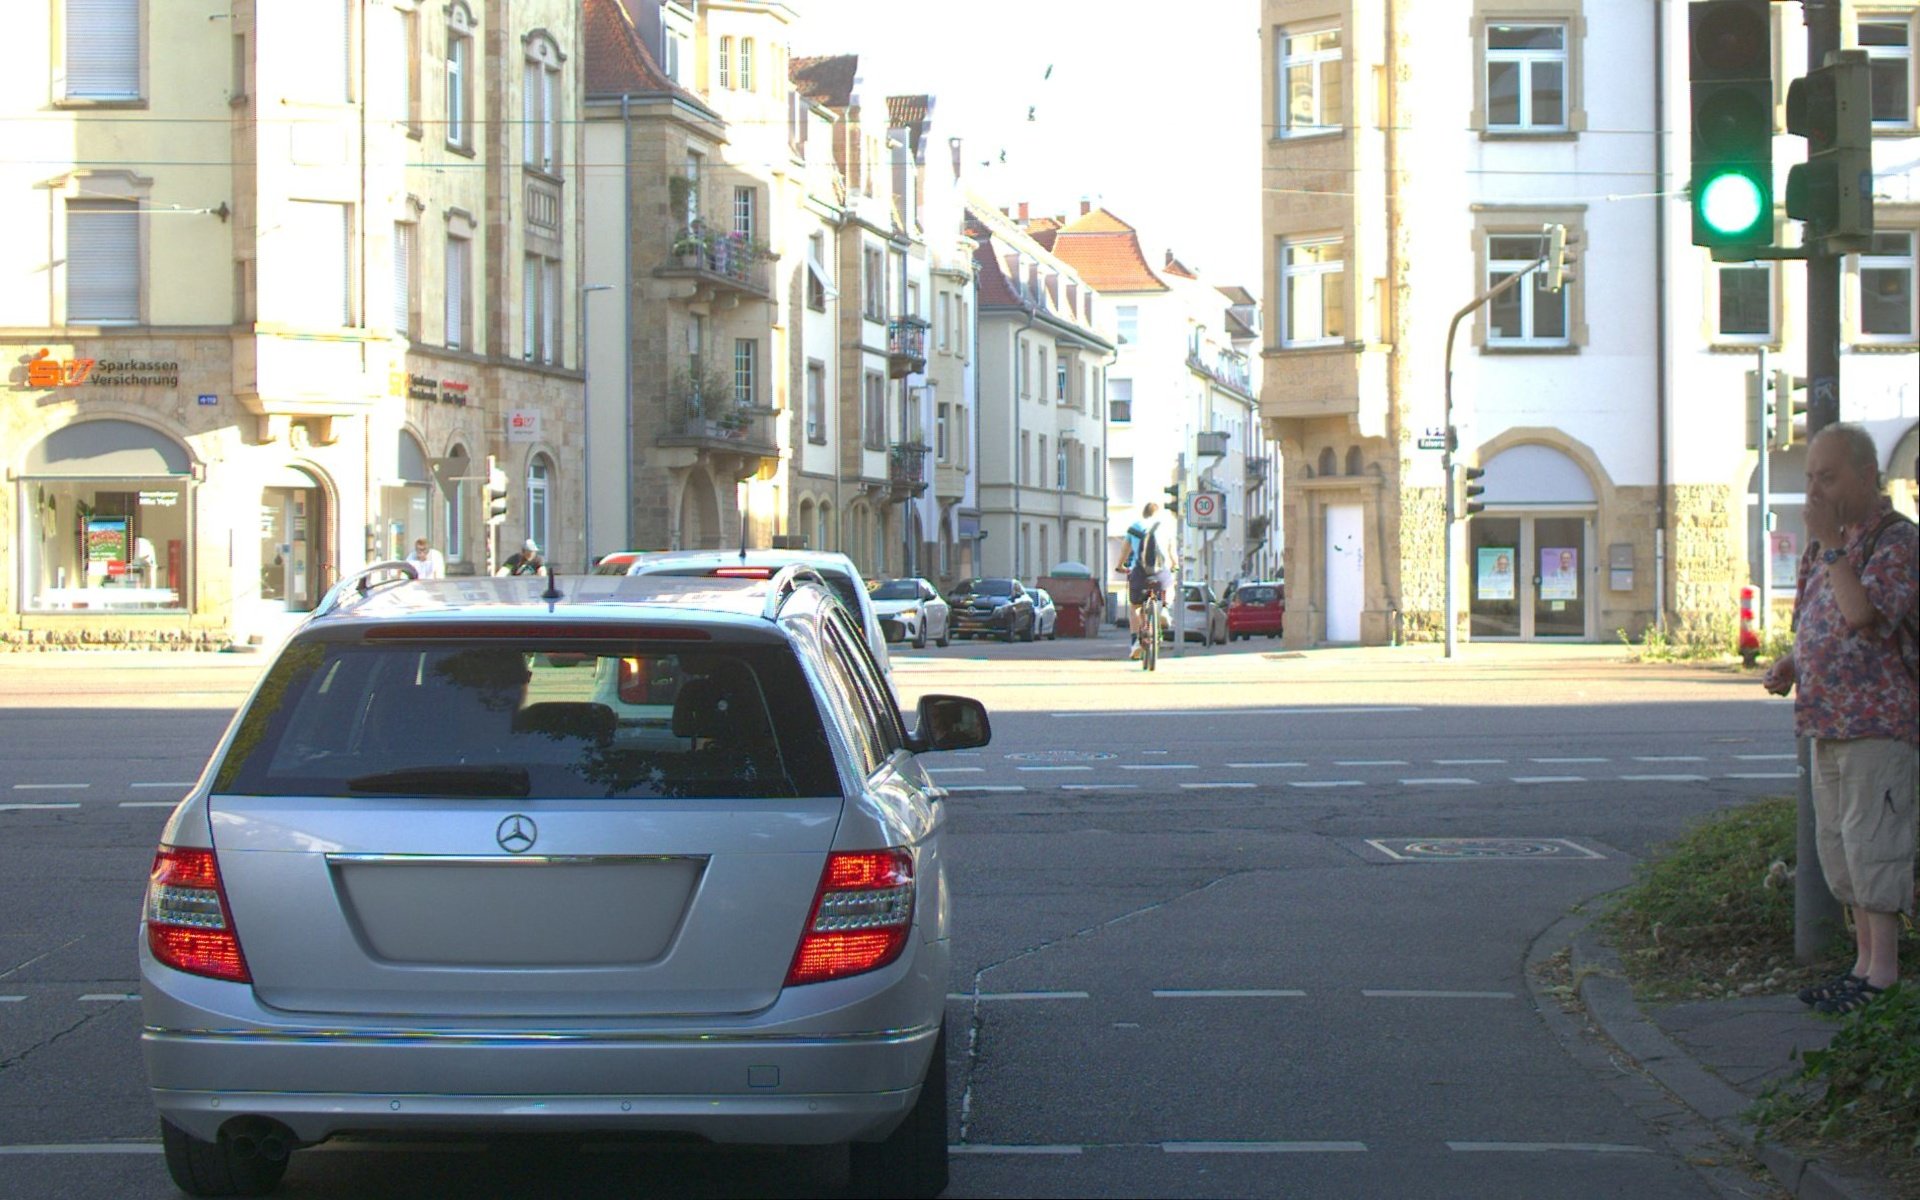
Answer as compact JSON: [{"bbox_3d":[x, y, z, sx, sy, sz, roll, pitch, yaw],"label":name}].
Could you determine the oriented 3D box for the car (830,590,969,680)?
[{"bbox_3d":[-1.181,0.673,68.718,1.831,1.700,3.998,1,0,13],"label":"car"}]

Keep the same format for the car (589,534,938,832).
[{"bbox_3d":[-1.011,0.403,19.189,1.732,1.475,3.815,1,0,-1],"label":"car"}]

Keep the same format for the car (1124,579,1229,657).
[{"bbox_3d":[4.745,0.367,74.866,1.830,1.610,3.998,1,0,10],"label":"car"}]

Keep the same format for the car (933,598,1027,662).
[{"bbox_3d":[0.564,0.774,91.573,1.831,1.610,3.998,1,0,10],"label":"car"}]

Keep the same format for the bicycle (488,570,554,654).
[{"bbox_3d":[-6.264,0.163,49.119,0.650,1.101,1.924,1,2,1],"label":"bicycle"}]

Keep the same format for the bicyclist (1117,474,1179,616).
[{"bbox_3d":[1.991,-0.579,36.477,0.610,1.488,0.767,1,0,1],"label":"bicyclist"}]

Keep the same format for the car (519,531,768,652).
[{"bbox_3d":[-5.131,-0.139,56.220,1.918,1.893,4.302,1,0,30],"label":"car"}]

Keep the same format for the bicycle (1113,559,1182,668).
[{"bbox_3d":[1.978,0.129,36.479,0.619,1.101,2.552,1,0,1],"label":"bicycle"}]

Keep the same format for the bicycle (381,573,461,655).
[{"bbox_3d":[-7.503,0.182,47.950,0.650,1.101,2.552,1,0,1],"label":"bicycle"}]

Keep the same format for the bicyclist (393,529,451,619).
[{"bbox_3d":[-7.497,-0.361,47.944,0.658,1.232,0.767,1,0,1],"label":"bicyclist"}]

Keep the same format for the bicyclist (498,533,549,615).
[{"bbox_3d":[-6.250,-0.374,49.227,0.610,1.154,0.767,1,0,1],"label":"bicyclist"}]

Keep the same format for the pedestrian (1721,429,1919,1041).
[{"bbox_3d":[2.734,0.397,10.487,0.700,1.800,0.666,1,0,5],"label":"pedestrian"}]

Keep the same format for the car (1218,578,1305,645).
[{"bbox_3d":[7.977,0.296,90.714,1.831,1.700,3.998,1,0,12],"label":"car"}]

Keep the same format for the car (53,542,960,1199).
[{"bbox_3d":[-0.901,0.622,8.724,1.732,1.472,4.172,1,0,-1],"label":"car"}]
